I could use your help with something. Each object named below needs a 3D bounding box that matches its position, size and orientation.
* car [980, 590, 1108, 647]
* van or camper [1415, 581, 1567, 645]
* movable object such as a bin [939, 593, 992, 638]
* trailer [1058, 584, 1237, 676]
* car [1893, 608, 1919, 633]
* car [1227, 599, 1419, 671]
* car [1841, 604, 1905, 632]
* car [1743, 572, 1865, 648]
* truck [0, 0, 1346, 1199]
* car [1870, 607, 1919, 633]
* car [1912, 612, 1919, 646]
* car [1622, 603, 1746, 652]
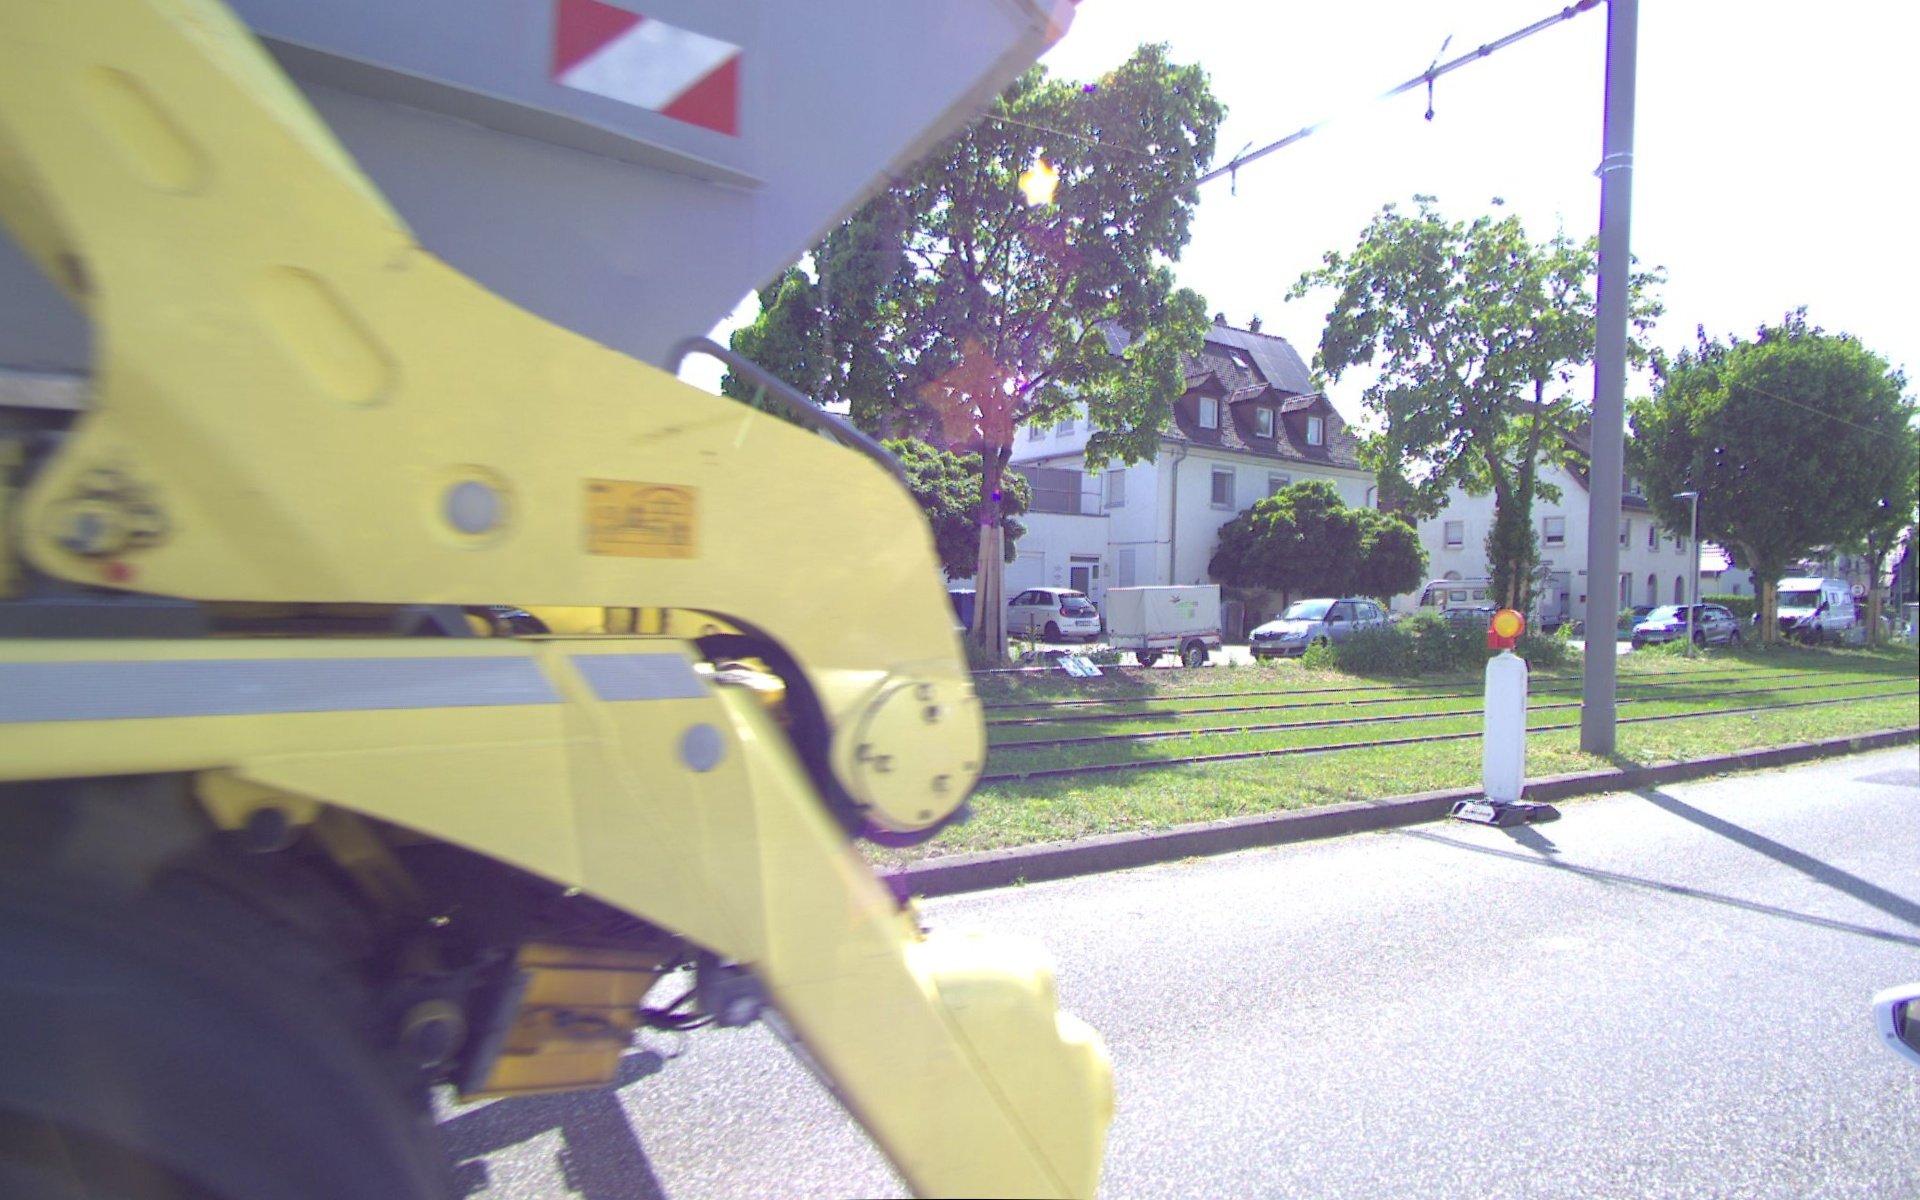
[{"bbox_3d":[2.462,0.505,30.332,1.776,1.592,3.962,1,0,-34],"label":"car"},{"bbox_3d":[28.094,0.625,53.467,2.416,3.168,6.843,1,0,-32],"label":"van or camper"},{"bbox_3d":[0.165,0.458,30.423,1.076,1.346,1.353,1,0,-30],"label":"movable object such as a bin"},{"bbox_3d":[3.758,0.564,20.031,3.335,1.700,1.557,1,1,-32],"label":"trailer"},{"bbox_3d":[64.958,1.408,67.792,4.351,1.573,1.867,2,0,-33],"label":"car"},{"bbox_3d":[8.390,0.786,23.108,4.515,1.525,1.720,1,-1,-31],"label":"car"},{"bbox_3d":[56.282,1.123,61.930,4.351,1.573,1.867,2,0,-33],"label":"car"},{"bbox_3d":[32.840,0.429,39.009,6.935,2.757,2.059,1,-1,-36],"label":"car"},{"bbox_3d":[-3.133,-0.343,0.835,7.062,3.505,2.549,1,-1,-29],"label":"truck"},{"bbox_3d":[60.899,1.296,65.022,4.351,1.573,1.867,2,0,-33],"label":"car"},{"bbox_3d":[46.773,1.402,47.282,4.331,1.573,1.867,2,0,-33],"label":"car"},{"bbox_3d":[23.931,0.889,33.166,4.515,1.525,1.720,1,-1,-31],"label":"car"}]
